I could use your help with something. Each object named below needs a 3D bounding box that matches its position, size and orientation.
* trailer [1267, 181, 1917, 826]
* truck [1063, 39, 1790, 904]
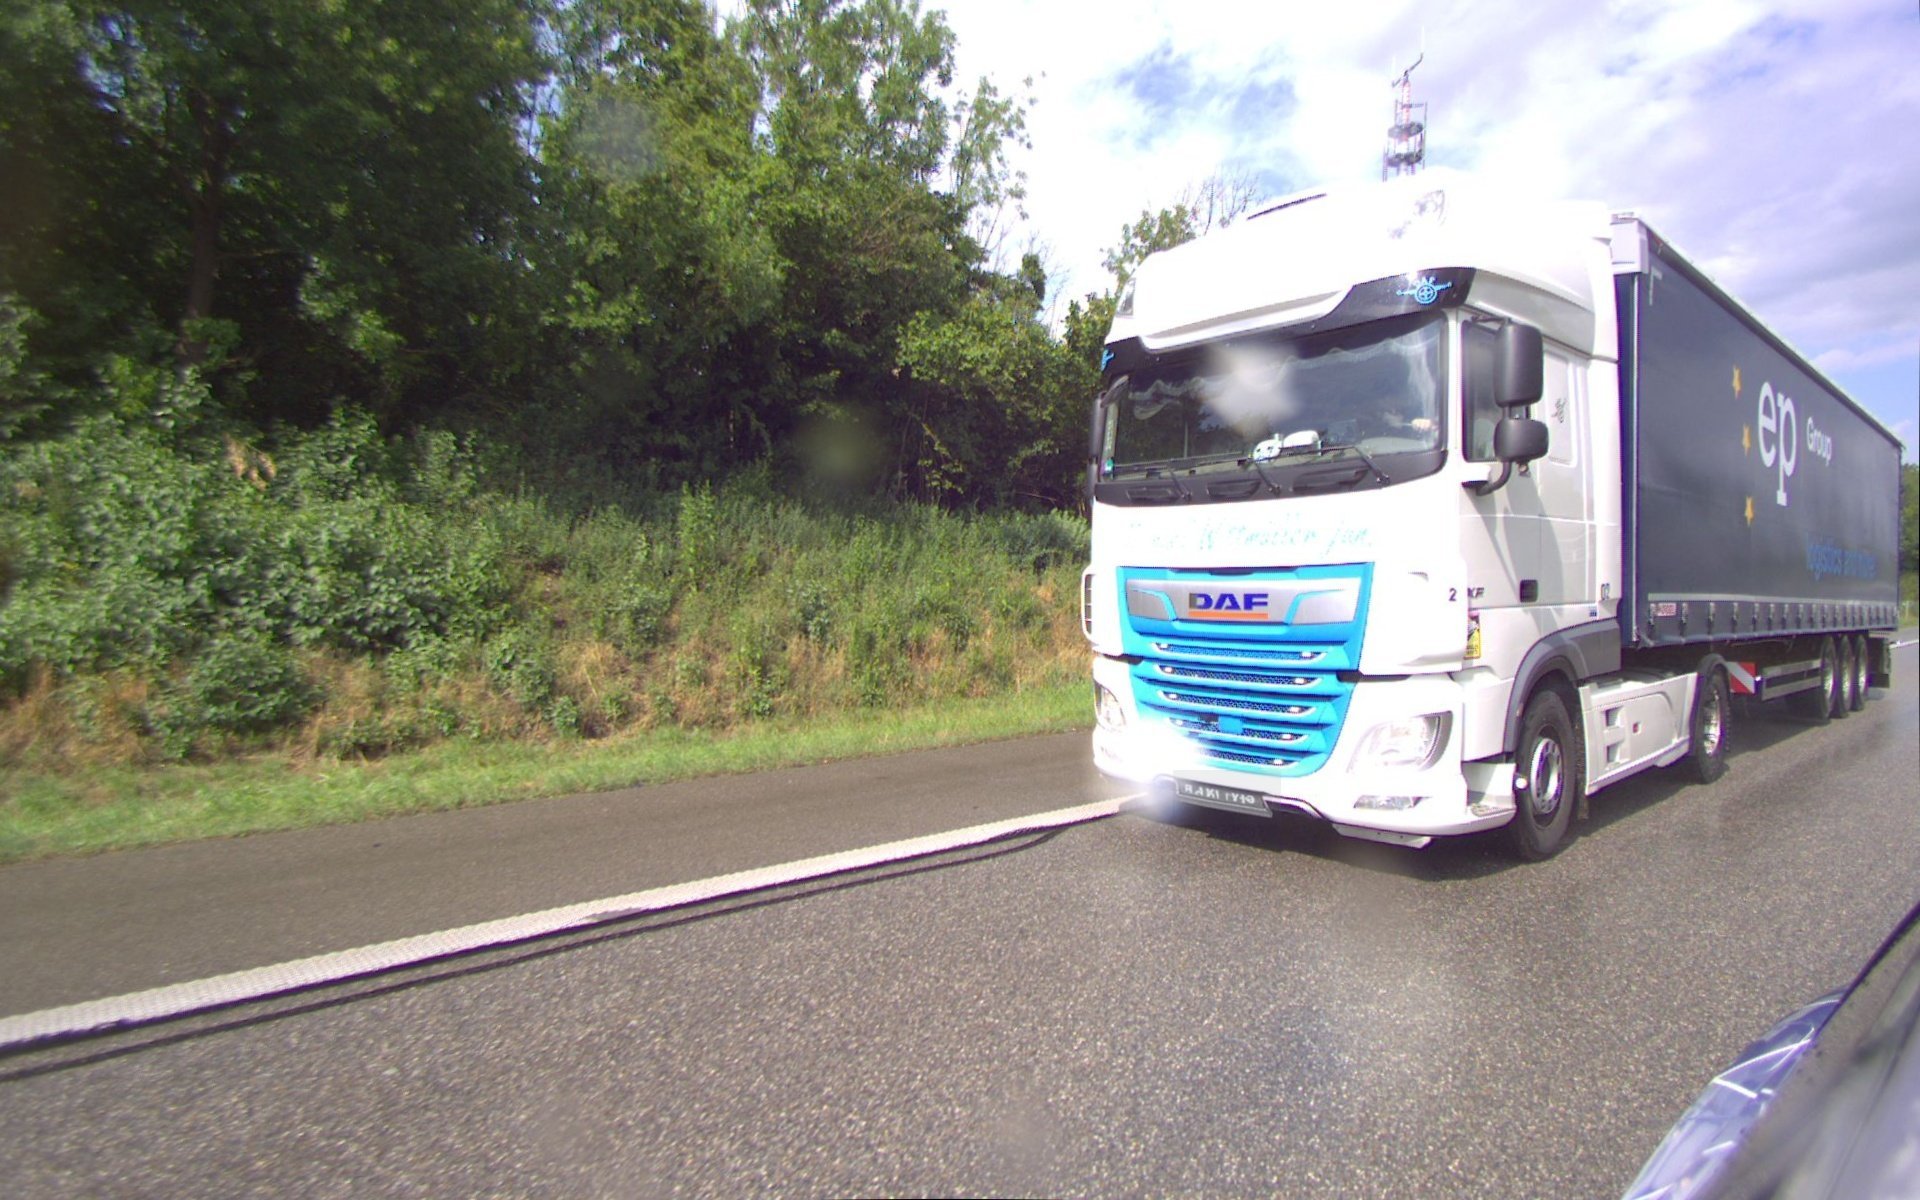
[{"bbox_3d":[8.578,-0.661,11.907,13.820,4.046,2.639,0,0,-41],"label":"trailer"},{"bbox_3d":[4.221,-0.636,8.092,7.163,4.046,2.611,0,0,-41],"label":"truck"}]
